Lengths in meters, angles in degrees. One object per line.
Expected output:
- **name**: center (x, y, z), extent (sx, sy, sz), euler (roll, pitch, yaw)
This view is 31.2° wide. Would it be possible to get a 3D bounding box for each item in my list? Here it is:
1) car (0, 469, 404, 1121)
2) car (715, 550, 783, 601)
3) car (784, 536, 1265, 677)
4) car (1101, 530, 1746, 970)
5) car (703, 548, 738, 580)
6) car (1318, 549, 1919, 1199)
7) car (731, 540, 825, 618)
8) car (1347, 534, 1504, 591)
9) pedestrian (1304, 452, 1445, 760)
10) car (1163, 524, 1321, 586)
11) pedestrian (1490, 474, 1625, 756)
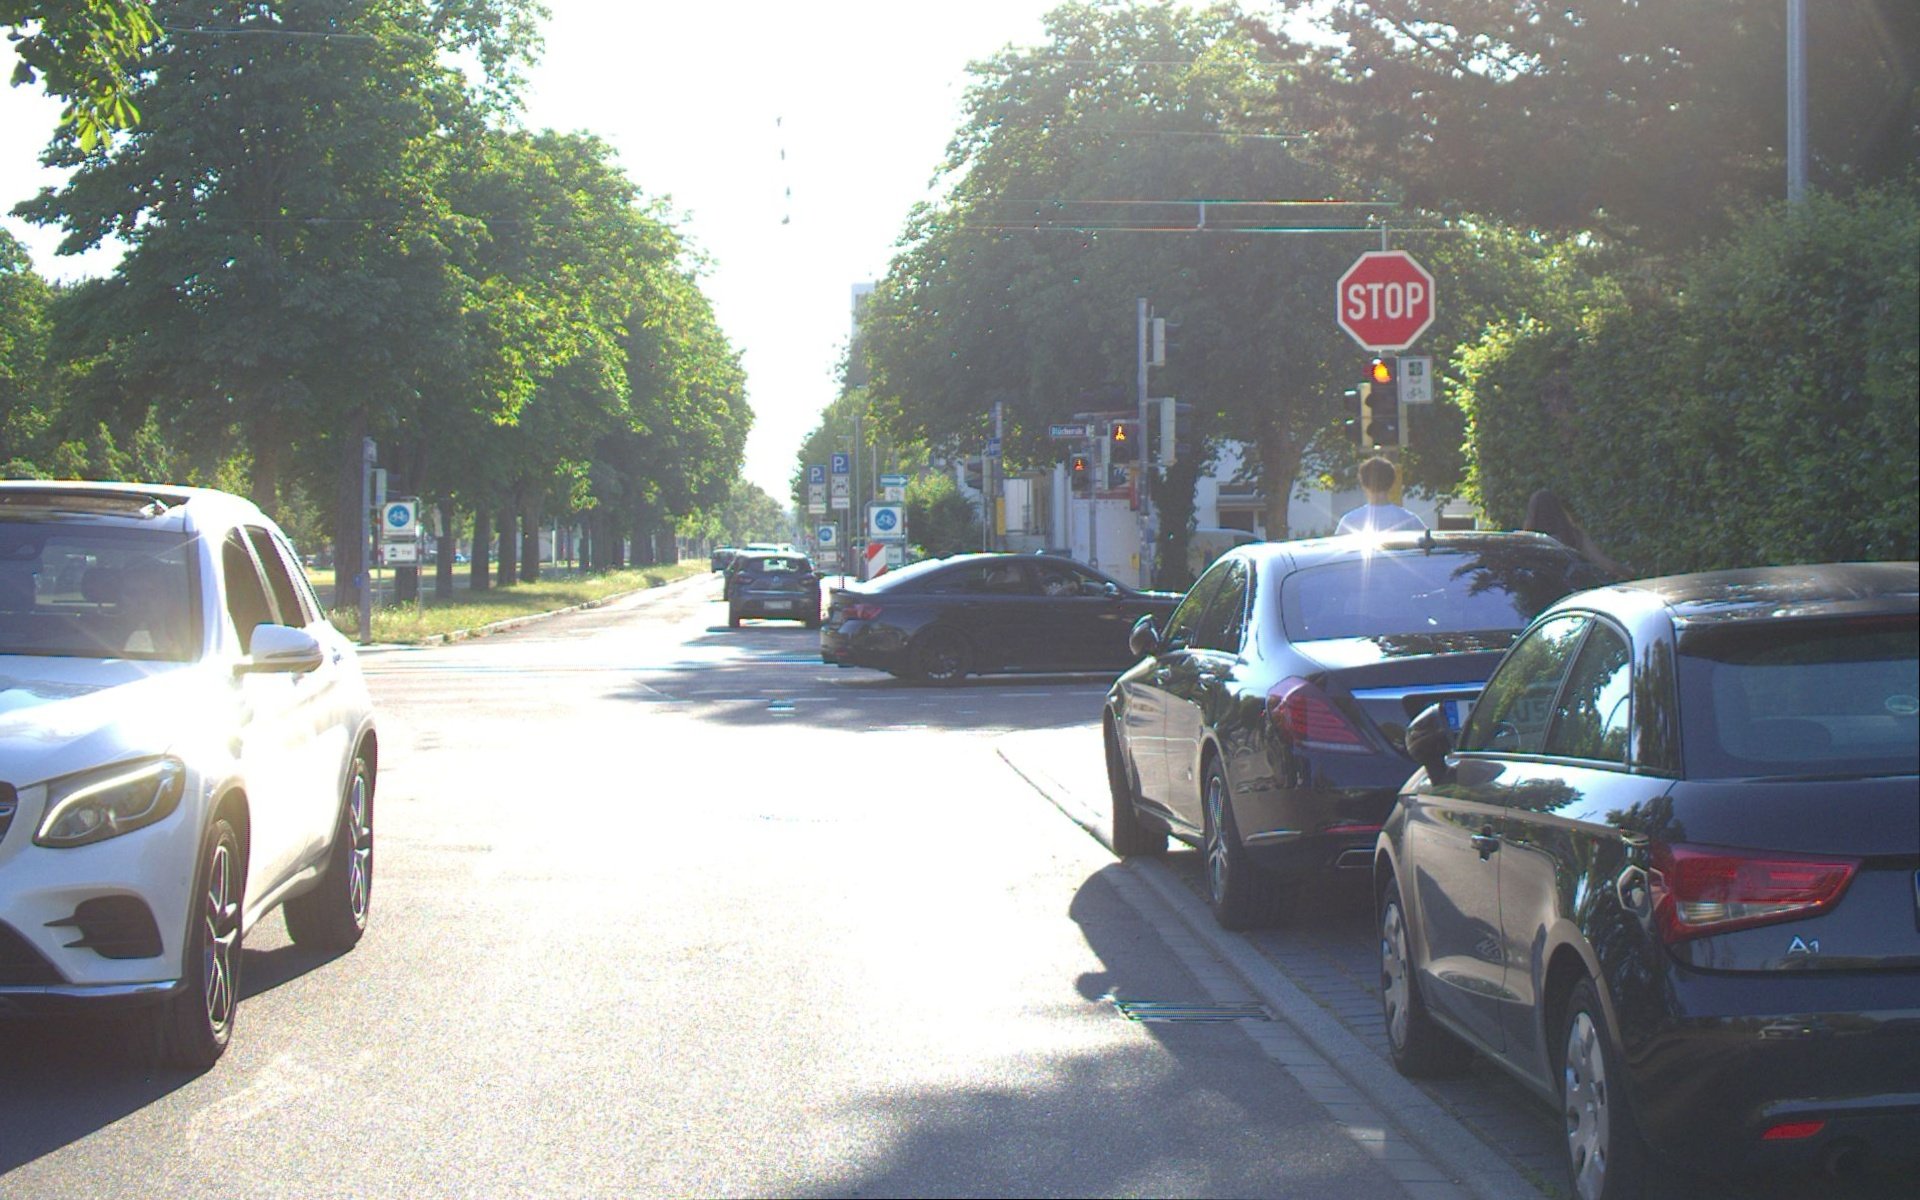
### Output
- **car**: center (-3.039, 0.453, 11.033), extent (1.891, 1.671, 4.425), euler (1, 1, -2)
- **car**: center (-6.066, -0.715, 99.062), extent (1.845, 1.389, 3.829), euler (0, 1, -2)
- **car**: center (0.645, 0.053, 36.016), extent (4.763, 1.429, 1.815), euler (0, 1, -10)
- **car**: center (1.732, 0.486, 14.512), extent (1.859, 1.537, 4.874), euler (0, 1, -3)
- **car**: center (-15.453, -2.336, 222.269), extent (2.134, 2.007, 3.902), euler (0, 1, -2)
- **car**: center (2.033, 0.618, 8.516), extent (1.641, 1.423, 3.937), euler (-2, 1, -3)
- **car**: center (-3.427, -0.418, 65.142), extent (1.641, 1.446, 3.307), euler (0, 1, 0)
- **car**: center (11.723, -0.949, 86.680), extent (3.662, 1.422, 1.532), euler (0, 1, -7)
- **pedestrian**: center (2.549, 0.031, 21.223), extent (0.670, 1.859, 0.882), euler (0, 1, -6)
- **car**: center (7.100, -1.137, 86.696), extent (3.779, 1.520, 1.744), euler (0, 2, -2)
- **pedestrian**: center (3.661, 0.087, 21.096), extent (0.669, 1.702, 0.623), euler (0, 1, -5)
